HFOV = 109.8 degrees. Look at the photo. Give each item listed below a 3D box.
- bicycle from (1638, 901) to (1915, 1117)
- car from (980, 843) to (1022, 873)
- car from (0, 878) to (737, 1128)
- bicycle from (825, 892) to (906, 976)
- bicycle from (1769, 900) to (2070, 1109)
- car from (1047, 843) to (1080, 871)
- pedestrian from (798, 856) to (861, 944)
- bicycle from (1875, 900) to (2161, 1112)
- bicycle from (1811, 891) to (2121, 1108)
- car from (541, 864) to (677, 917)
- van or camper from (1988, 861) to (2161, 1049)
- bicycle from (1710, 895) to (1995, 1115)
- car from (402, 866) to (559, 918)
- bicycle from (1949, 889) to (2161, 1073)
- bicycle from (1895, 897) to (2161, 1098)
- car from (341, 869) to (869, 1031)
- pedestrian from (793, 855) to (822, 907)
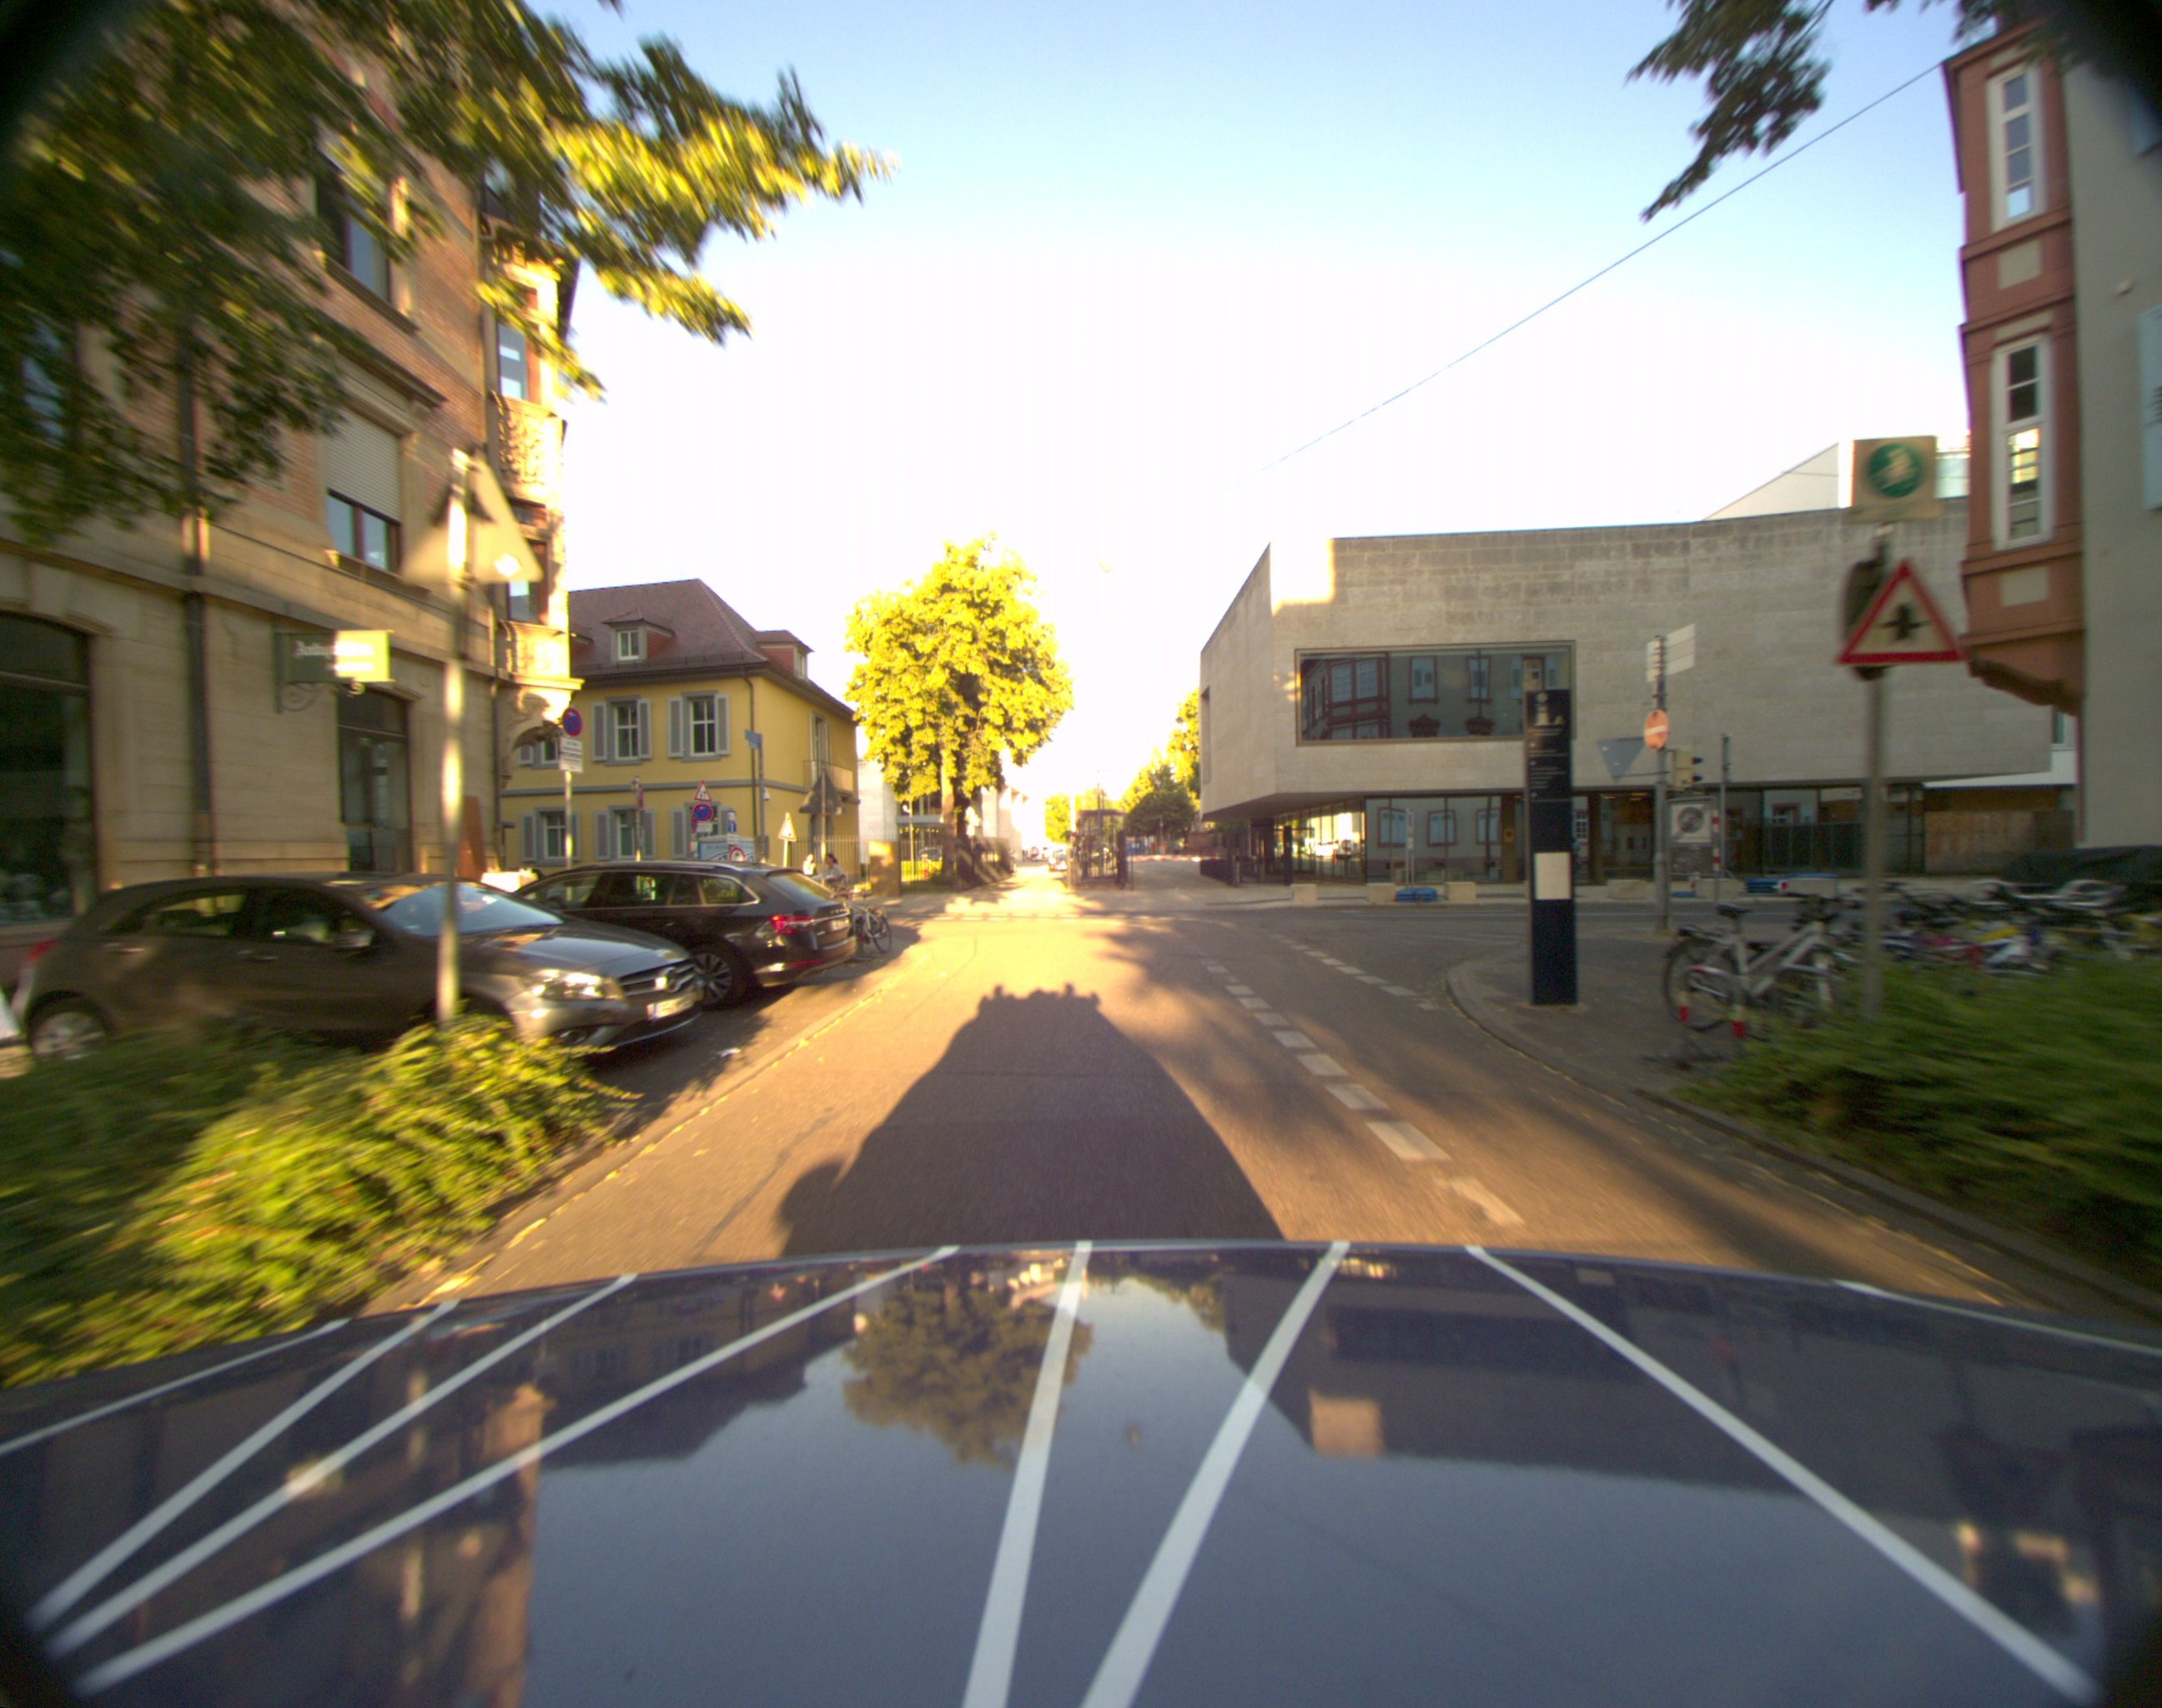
[{"bbox_3d":[4.649,0.955,5.248,0.396,1.102,1.712,-3,1,3],"label":"bicycle"},{"bbox_3d":[-4.906,0.187,47.007,1.707,1.727,4.065,1,1,7],"label":"car"},{"bbox_3d":[-5.304,0.965,5.756,4.537,1.471,1.868,0,1,3],"label":"car"},{"bbox_3d":[-3.149,1.141,11.271,0.571,1.041,1.832,-1,1,4],"label":"bicycle"},{"bbox_3d":[5.509,0.911,5.137,0.319,1.075,1.597,-3,1,4],"label":"bicycle"},{"bbox_3d":[-1.021,0.163,47.040,1.709,1.575,3.679,-2,2,3],"label":"car"},{"bbox_3d":[-4.934,0.878,14.926,0.962,1.649,0.638,-2,2,-41],"label":"pedestrian"},{"bbox_3d":[6.240,0.902,5.047,0.341,1.075,1.596,-1,1,3],"label":"bicycle"},{"bbox_3d":[5.893,0.884,5.204,0.312,1.142,1.612,-2,2,3],"label":"bicycle"},{"bbox_3d":[-13.990,1.077,22.591,3.216,1.511,1.547,-1,-1,11],"label":"car"},{"bbox_3d":[8.060,0.724,5.464,0.943,1.252,1.845,-2,1,6],"label":"van or camper"},{"bbox_3d":[5.034,0.901,5.103,0.331,1.134,1.597,-3,1,4],"label":"bicycle"},{"bbox_3d":[-18.395,1.147,23.333,3.972,1.511,1.547,-1,-1,11],"label":"car"},{"bbox_3d":[7.013,0.832,5.186,0.396,1.075,1.597,-3,1,3],"label":"bicycle"},{"bbox_3d":[6.612,0.895,5.257,0.323,1.076,1.596,-1,1,3],"label":"bicycle"},{"bbox_3d":[-4.860,0.945,8.280,4.537,1.502,1.911,0,1,1],"label":"car"},{"bbox_3d":[-8.489,0.830,23.598,0.672,1.585,0.469,-1,1,13],"label":"pedestrian"}]
